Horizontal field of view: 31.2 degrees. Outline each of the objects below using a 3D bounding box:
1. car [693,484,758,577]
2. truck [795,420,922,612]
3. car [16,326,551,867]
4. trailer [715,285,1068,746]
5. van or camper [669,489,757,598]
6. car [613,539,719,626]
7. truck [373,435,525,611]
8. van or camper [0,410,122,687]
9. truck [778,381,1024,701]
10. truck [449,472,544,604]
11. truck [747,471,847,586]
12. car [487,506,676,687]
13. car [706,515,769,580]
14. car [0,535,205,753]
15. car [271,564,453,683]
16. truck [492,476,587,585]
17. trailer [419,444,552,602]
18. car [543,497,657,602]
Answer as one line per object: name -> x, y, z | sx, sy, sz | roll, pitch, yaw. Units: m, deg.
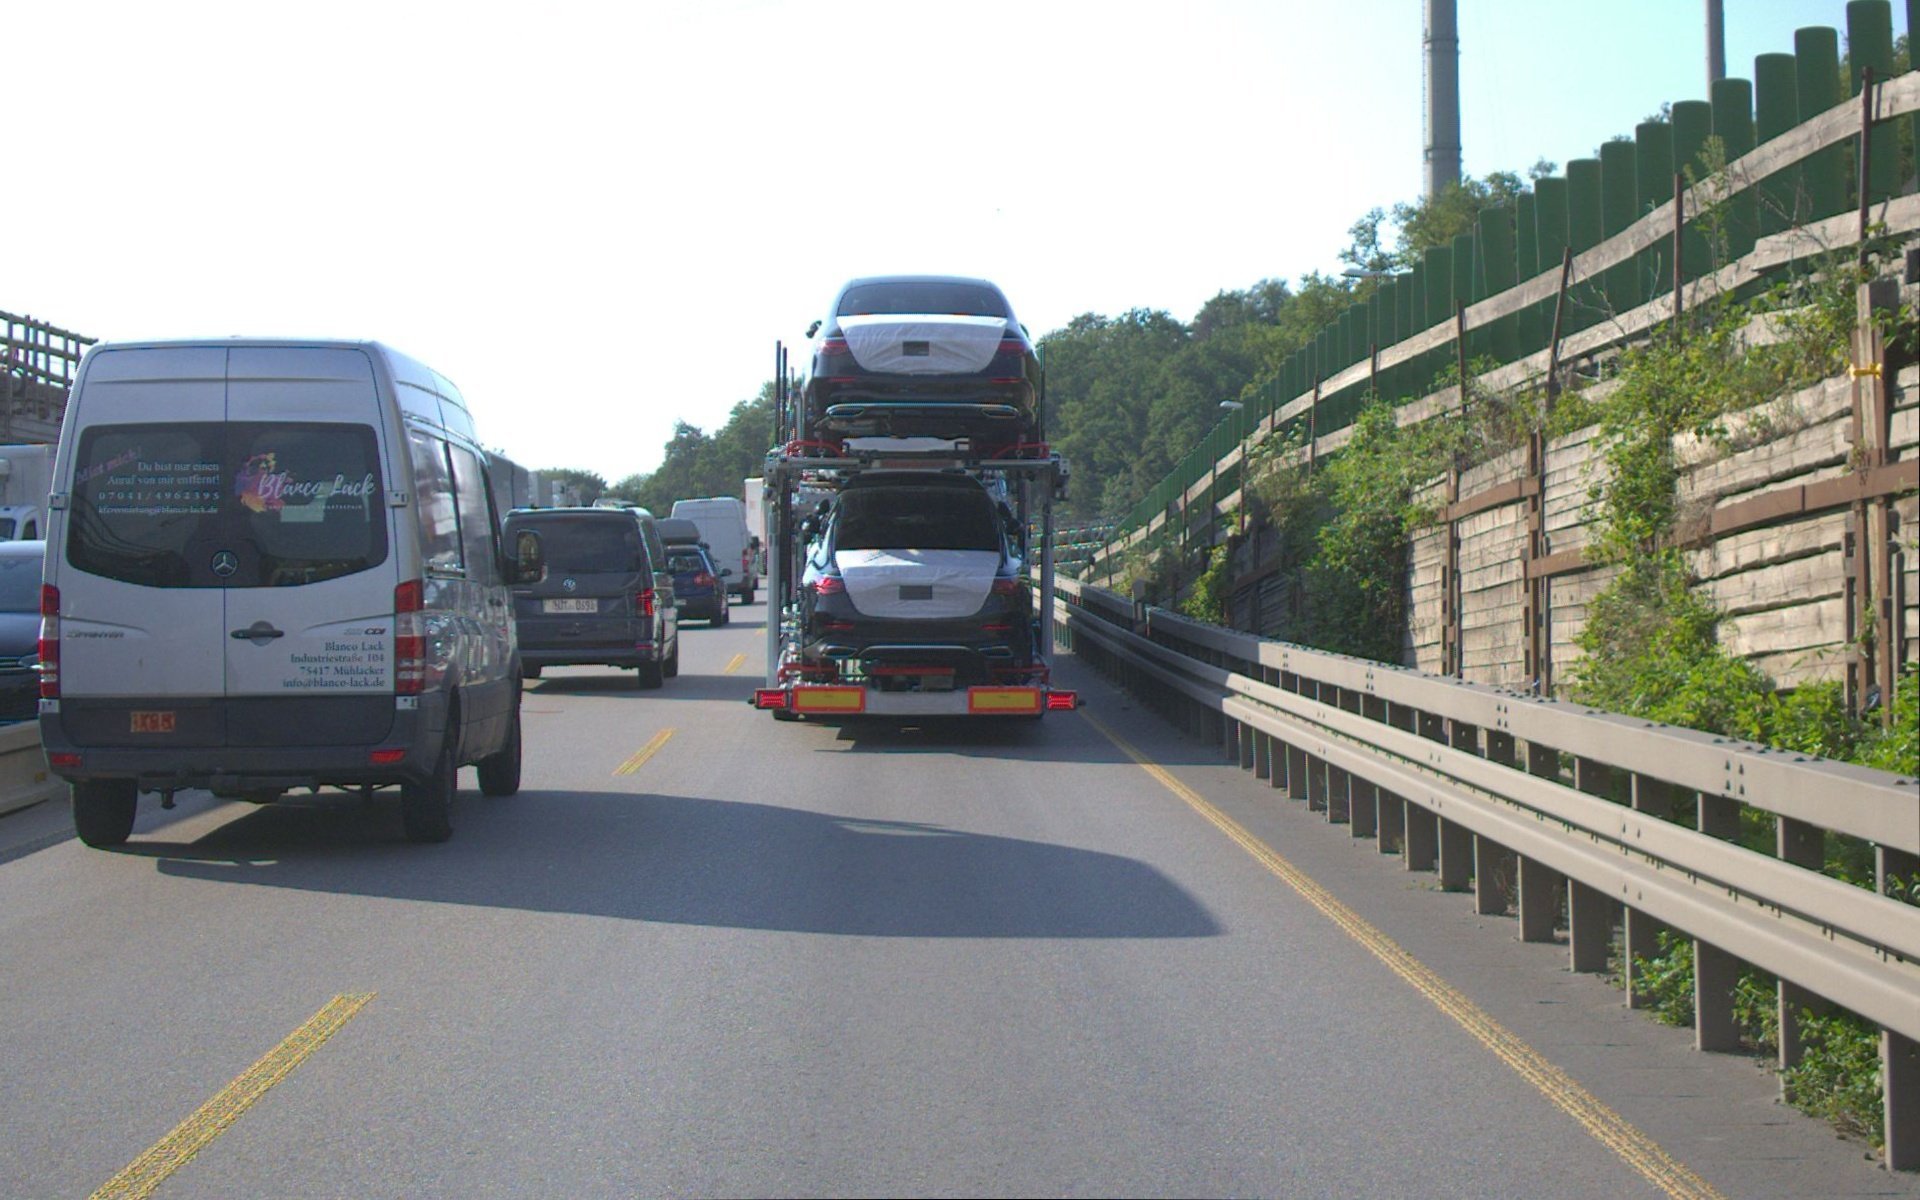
car -> -12.999, -3.818, 190.375 | 3.444, 5.018, 9.654 | 1, 1, -4
truck -> -2.606, -2.066, 85.967 | 2.907, 4.591, 7.287 | 0, 1, -4
car -> -3.639, -0.061, 19.592 | 1.993, 2.639, 5.531 | 0, 1, -1
trailer -> -0.588, -0.666, 34.233 | 2.682, 3.523, 15.289 | 1, 0, 0
van or camper -> -6.090, -1.357, 85.237 | 1.968, 2.583, 5.042 | 1, 0, -2
car -> -5.368, -0.337, 63.150 | 1.725, 1.517, 3.973 | 1, 1, -2
truck -> -12.828, -1.916, 86.995 | 2.624, 4.098, 9.629 | -3, 1, -2
van or camper -> -11.570, -0.533, 39.931 | 2.319, 2.979, 6.224 | -1, 0, -2
truck -> -0.684, -0.658, 41.802 | 2.682, 3.523, 7.194 | 1, 0, 0
truck -> -14.772, -1.978, 109.924 | 2.709, 4.079, 6.205 | 0, 1, -5
truck -> -6.898, -2.976, 145.197 | 4.064, 4.663, 10.593 | 0, 1, -3
car -> -4.210, -0.026, 38.770 | 1.808, 1.897, 4.000 | 1, 0, -2
car -> -7.312, -1.730, 113.177 | 1.885, 2.093, 3.765 | 1, 1, -1
car -> -7.624, 0.326, 28.328 | 1.831, 1.639, 4.689 | 1, 0, -1
car -> -7.949, 0.274, 46.030 | 1.764, 1.445, 4.459 | 1, 1, -2
truck -> -16.884, -2.747, 138.897 | 2.982, 4.139, 15.858 | 1, 1, -4
trailer -> -13.253, -2.164, 96.658 | 2.605, 4.098, 9.629 | -3, 1, -2
car -> -8.833, -1.224, 84.647 | 2.471, 2.525, 4.000 | 0, 0, -1
